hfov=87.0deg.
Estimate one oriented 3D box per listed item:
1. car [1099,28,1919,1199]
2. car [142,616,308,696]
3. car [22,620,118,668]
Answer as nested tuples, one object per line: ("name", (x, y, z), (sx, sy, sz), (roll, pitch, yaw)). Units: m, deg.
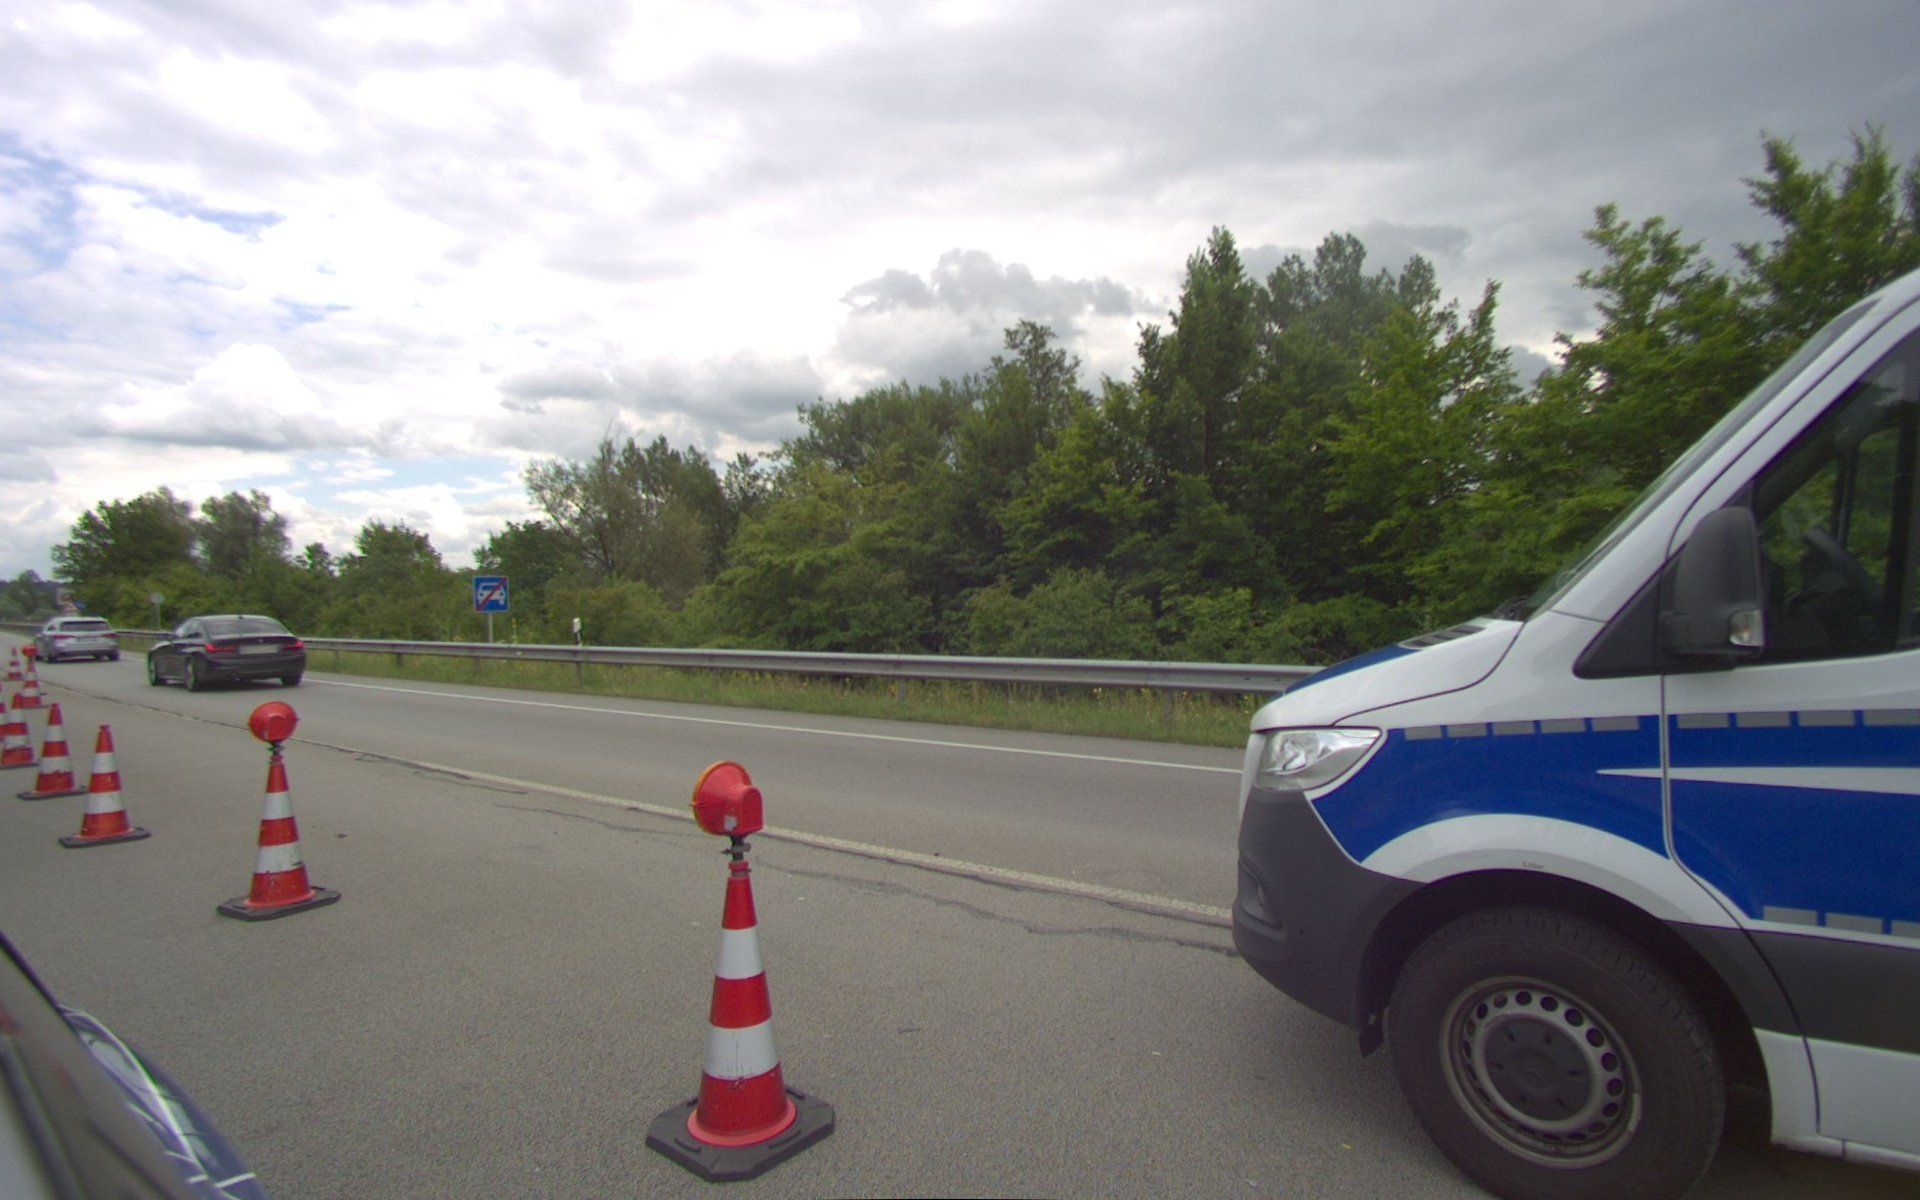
("car", (3.109, 0.144, 2.173), (5.272, 2.482, 2.010), (-1, -1, 38))
("car", (-14.926, 1.063, 20.467), (4.332, 1.447, 1.692), (-1, -1, 39))
("car", (-28.773, 1.372, 32.680), (4.370, 1.412, 1.662), (-1, -1, 39))
